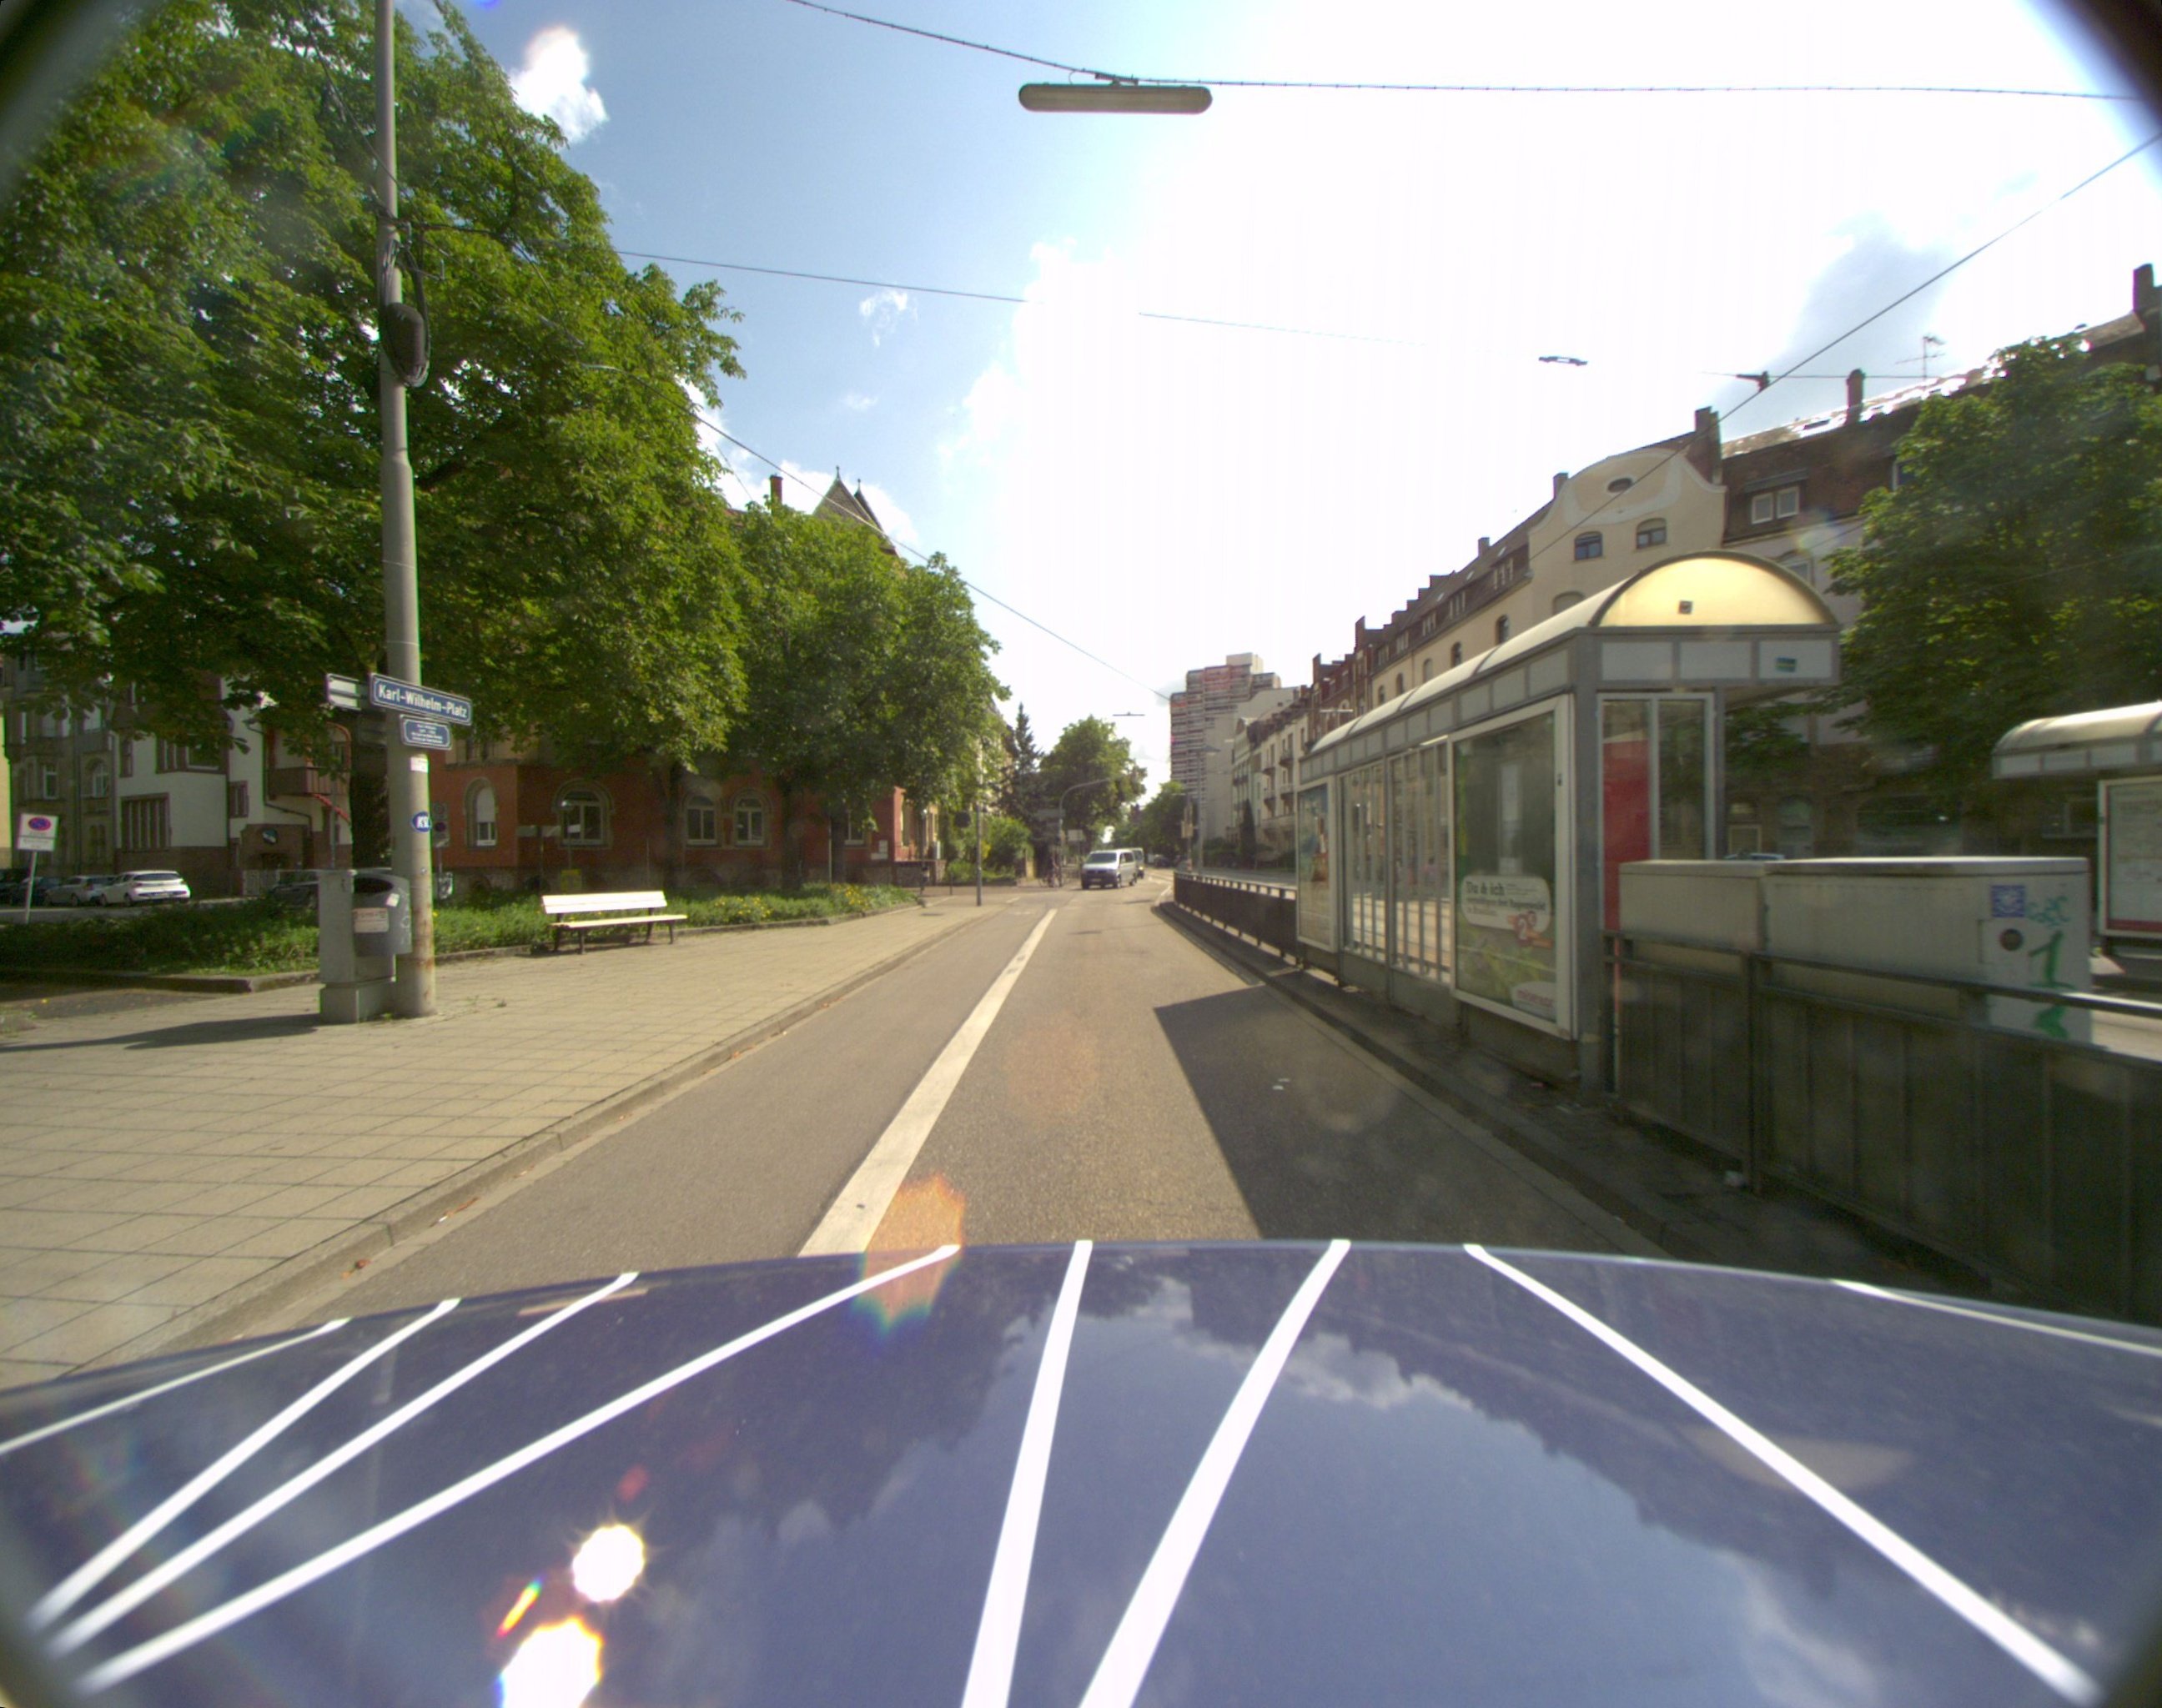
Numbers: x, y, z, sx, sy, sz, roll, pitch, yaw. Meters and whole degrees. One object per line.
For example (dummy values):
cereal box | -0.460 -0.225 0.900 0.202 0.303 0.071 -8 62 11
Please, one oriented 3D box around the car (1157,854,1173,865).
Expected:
car | 10.996 0.745 99.846 1.629 1.379 3.435 1 0 -1

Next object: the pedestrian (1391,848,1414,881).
pedestrian | 17.337 0.580 40.983 0.758 1.694 0.874 -5 0 0

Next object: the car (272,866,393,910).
car | -27.633 1.205 28.042 3.990 1.477 1.940 -1 0 26

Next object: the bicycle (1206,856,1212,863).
bicycle | 16.463 0.714 97.857 0.587 0.792 1.873 -3 1 5

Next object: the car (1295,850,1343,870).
car | 19.897 0.491 63.562 3.452 1.477 1.706 -3 0 2

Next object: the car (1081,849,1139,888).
car | 1.571 0.680 39.231 1.829 1.855 4.851 -1 0 16

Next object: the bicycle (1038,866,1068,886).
bicycle | -1.489 1.165 40.561 1.849 1.029 0.389 0 0 -45

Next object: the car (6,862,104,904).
car | -49.506 1.363 36.650 3.991 1.892 1.782 -1 0 21

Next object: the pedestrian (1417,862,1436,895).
pedestrian | 11.808 0.827 25.971 0.438 1.102 0.423 1 0 -4

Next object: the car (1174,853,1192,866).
car | 14.026 0.716 104.570 1.796 1.701 4.331 -1 0 0

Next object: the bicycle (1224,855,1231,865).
bicycle | 16.831 0.680 87.195 0.539 1.024 1.873 -1 1 5

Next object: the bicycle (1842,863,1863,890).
bicycle | 28.462 0.829 28.026 2.035 0.877 0.510 -3 2 -43

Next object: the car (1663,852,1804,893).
car | 24.164 0.641 28.220 3.862 1.412 1.724 -1 0 44

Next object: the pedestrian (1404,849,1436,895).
pedestrian | 11.844 0.621 26.572 0.730 1.556 0.799 -1 1 -4

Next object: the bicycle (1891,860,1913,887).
bicycle | 29.223 0.683 27.051 2.035 0.877 0.510 -3 2 -43

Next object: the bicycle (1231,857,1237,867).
bicycle | 16.376 0.847 81.187 0.524 0.901 2.067 -1 2 8

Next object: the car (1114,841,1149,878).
car | 3.652 0.376 55.964 2.167 2.572 5.663 -1 0 0

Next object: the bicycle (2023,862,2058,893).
bicycle | 31.283 0.748 24.788 2.035 0.877 0.545 -3 2 -43

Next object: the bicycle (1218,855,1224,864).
bicycle | 16.865 0.665 91.688 0.587 0.980 1.873 -1 1 5

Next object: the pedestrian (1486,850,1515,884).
pedestrian | 19.659 0.602 35.618 0.695 1.532 0.963 -5 0 1

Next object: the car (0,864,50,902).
car | -54.633 1.456 38.625 3.659 1.827 1.729 -1 0 21

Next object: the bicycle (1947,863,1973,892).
bicycle | 30.164 0.805 26.085 2.035 0.877 0.510 -3 2 -43

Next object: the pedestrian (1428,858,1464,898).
pedestrian | 12.302 0.796 25.605 0.828 1.296 0.717 1 0 -4

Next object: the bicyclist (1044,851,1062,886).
bicyclist | -1.496 0.766 40.557 0.736 1.809 0.819 -1 0 -22

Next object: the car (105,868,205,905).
car | -40.425 1.394 33.175 3.990 1.477 1.874 -1 0 26

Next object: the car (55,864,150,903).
car | -44.990 1.342 34.933 3.990 1.696 1.728 -1 0 24

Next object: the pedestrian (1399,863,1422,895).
pedestrian | 11.793 0.893 27.195 0.643 1.107 0.443 -1 1 -4
